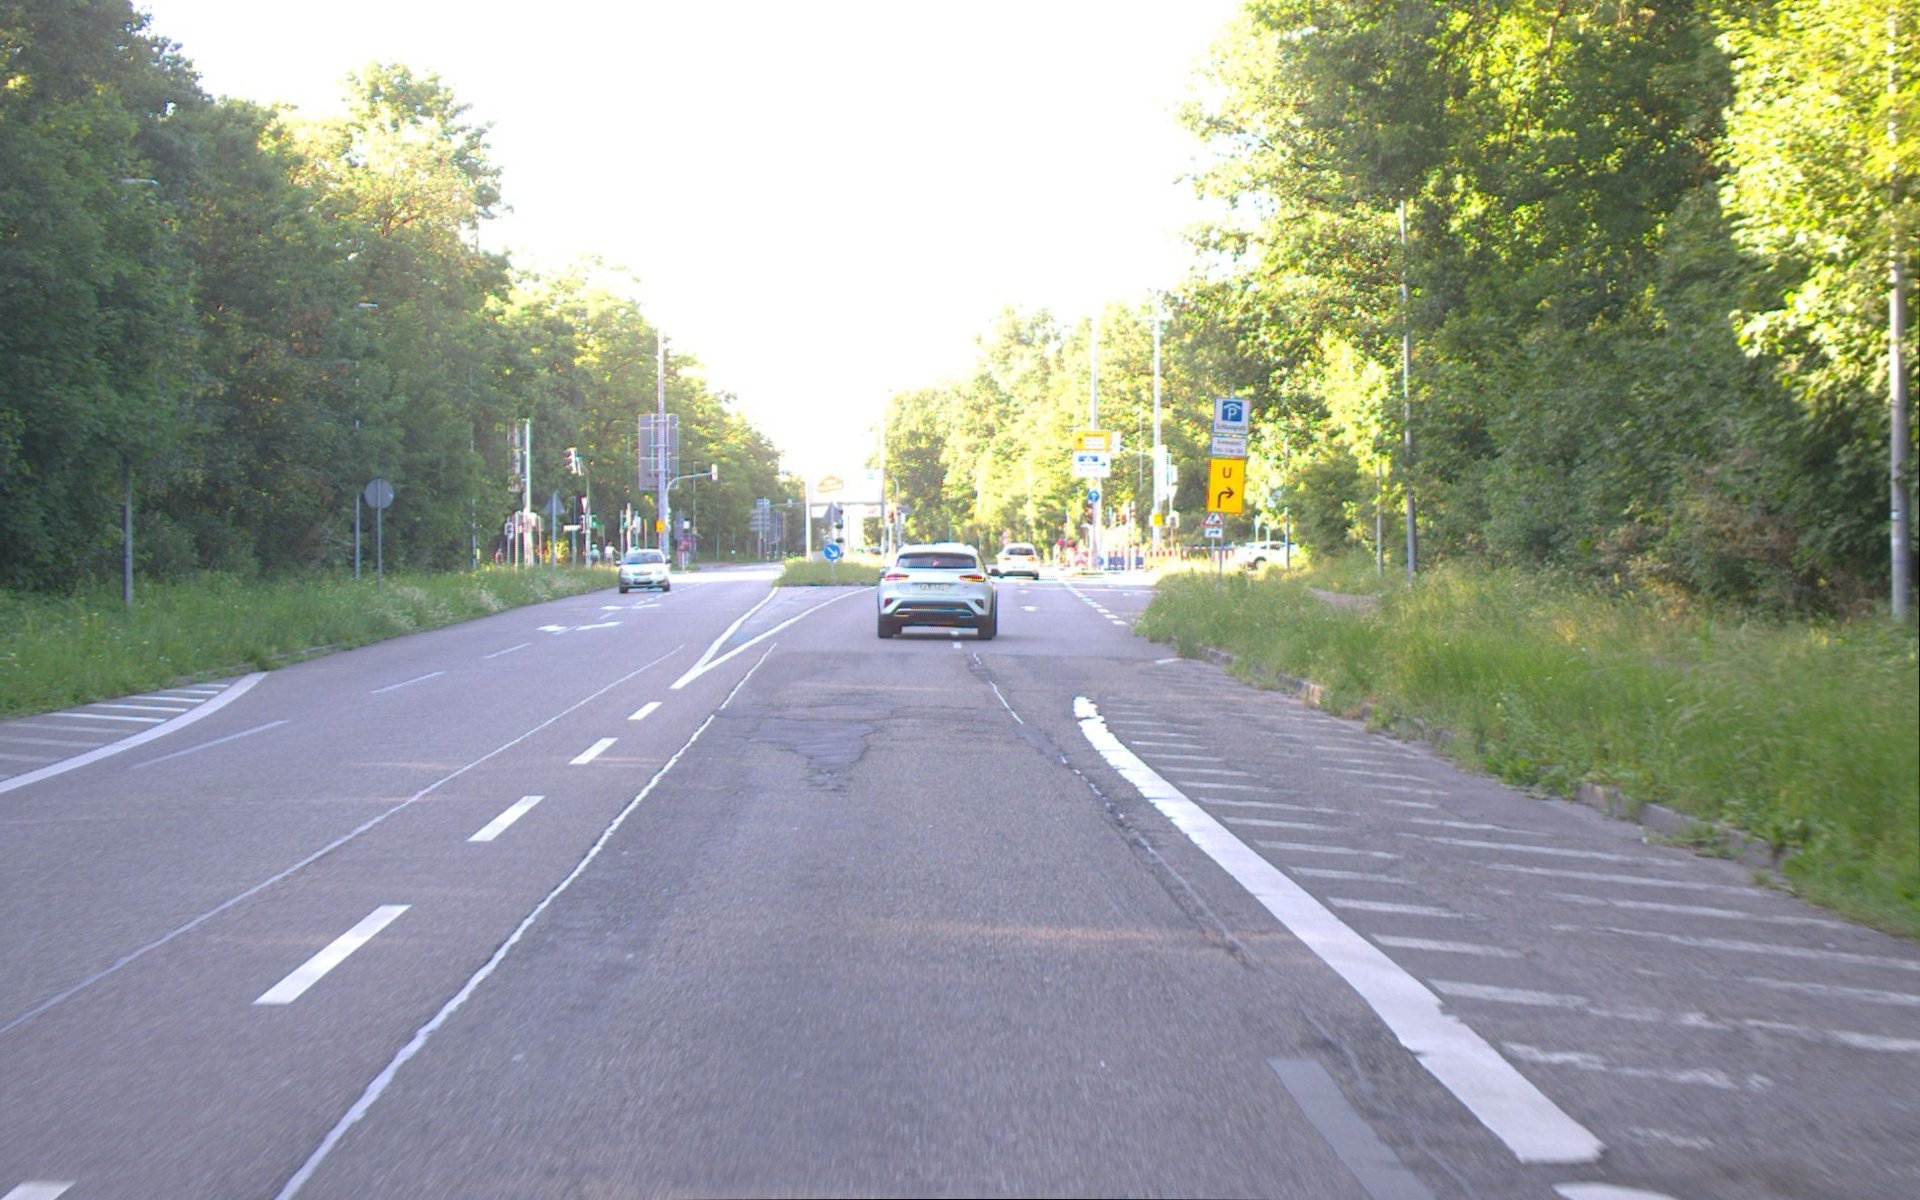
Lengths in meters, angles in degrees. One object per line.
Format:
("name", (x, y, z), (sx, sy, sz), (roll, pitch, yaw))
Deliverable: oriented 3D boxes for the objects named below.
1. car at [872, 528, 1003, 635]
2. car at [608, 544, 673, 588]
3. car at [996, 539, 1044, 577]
("car", (-0.397, -0.323, 55.239), (1.993, 1.634, 4.000), (-1, 1, -2))
("car", (-11.013, -1.189, 118.742), (1.993, 1.459, 4.000), (1, 1, -2))
("car", (2.611, -1.864, 150.512), (1.993, 1.612, 4.000), (1, 1, -1))
